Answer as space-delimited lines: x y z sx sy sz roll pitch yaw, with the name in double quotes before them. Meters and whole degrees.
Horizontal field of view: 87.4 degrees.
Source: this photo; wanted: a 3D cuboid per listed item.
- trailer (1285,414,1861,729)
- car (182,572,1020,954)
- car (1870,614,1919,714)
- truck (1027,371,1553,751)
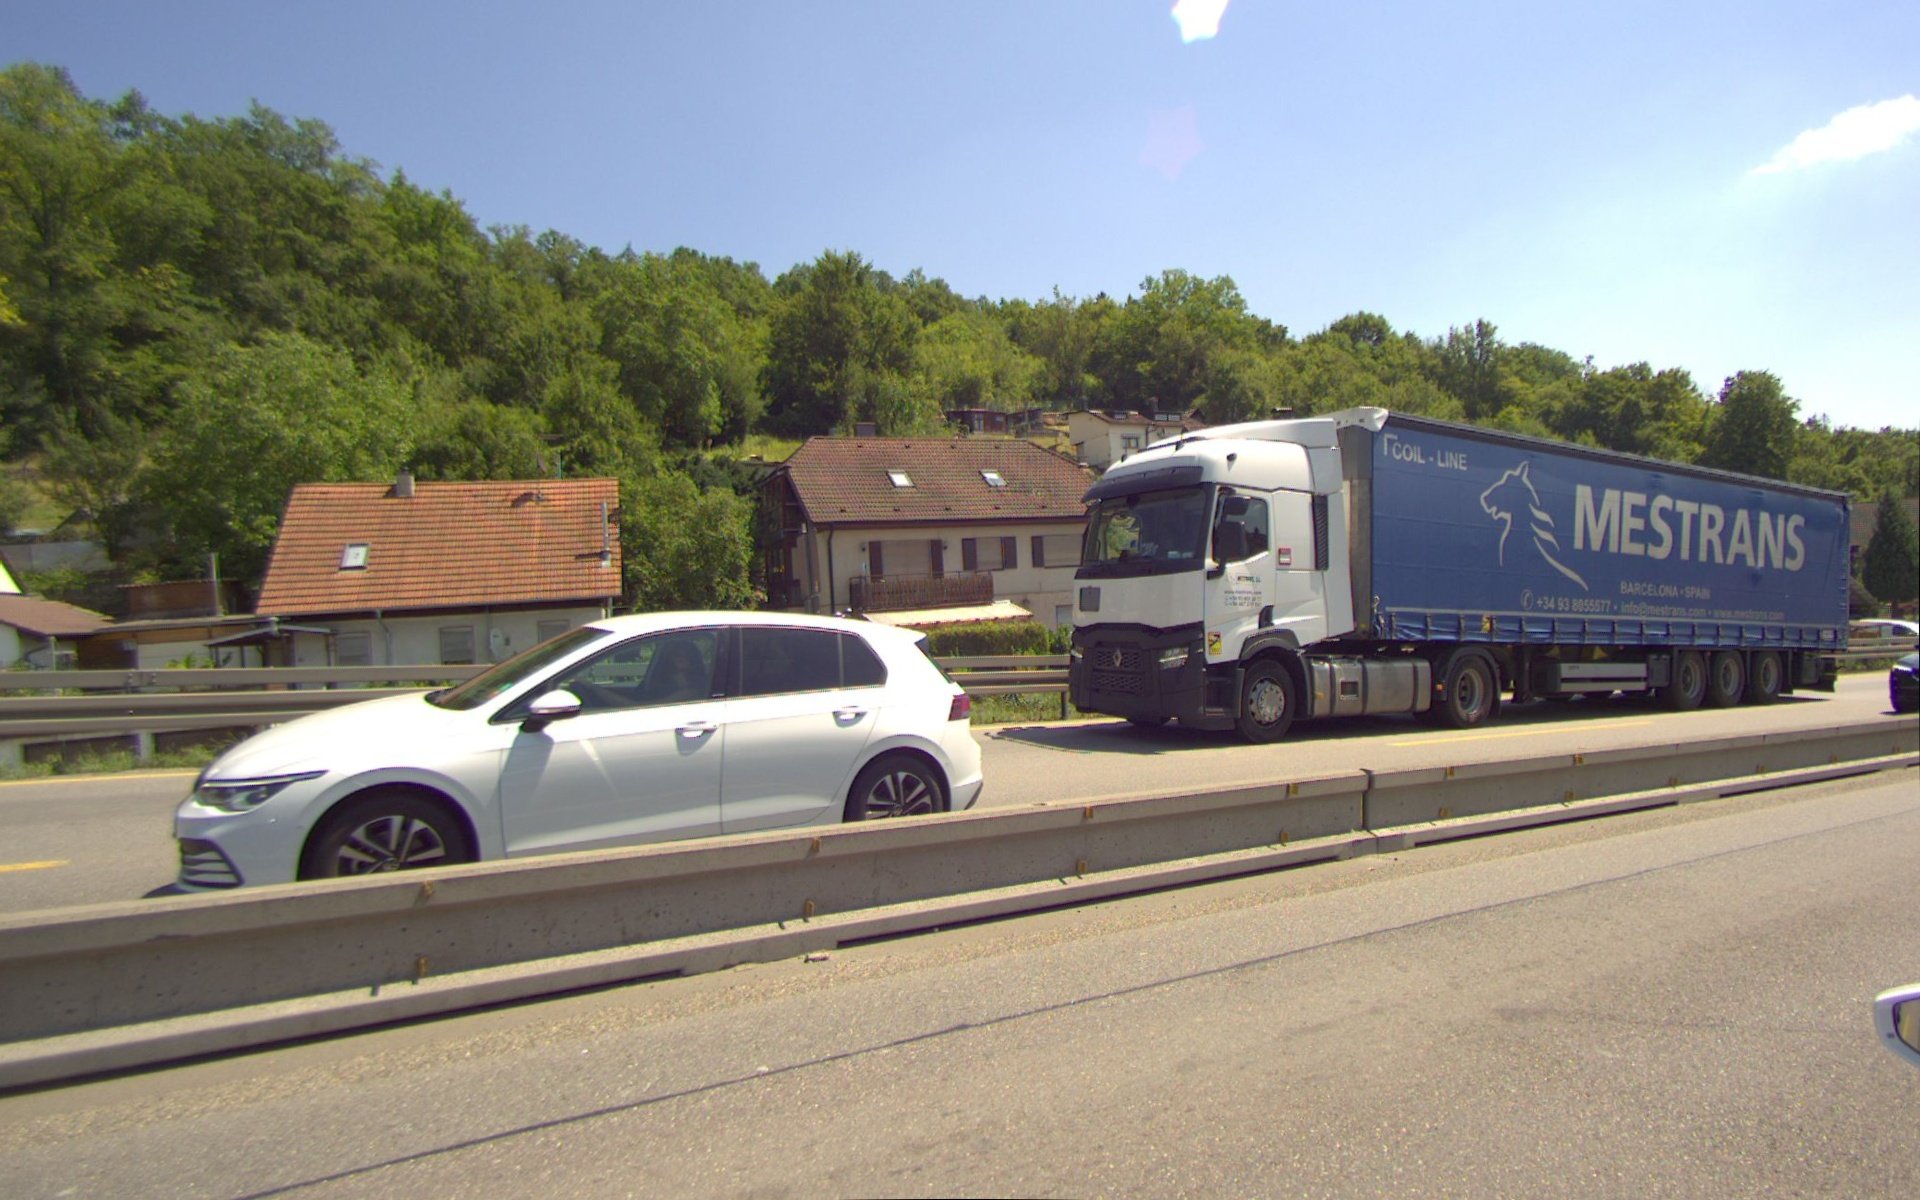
"trailer" 11.016 -0.286 17.378 11.672 4.134 3.122 1 0 -29
"car" -1.817 0.695 5.894 4.143 1.555 1.663 1 -1 -31
"car" 17.176 1.036 16.664 4.505 1.567 1.842 1 -1 -30
"truck" 4.627 -0.371 13.906 6.793 4.134 3.123 1 0 -28
